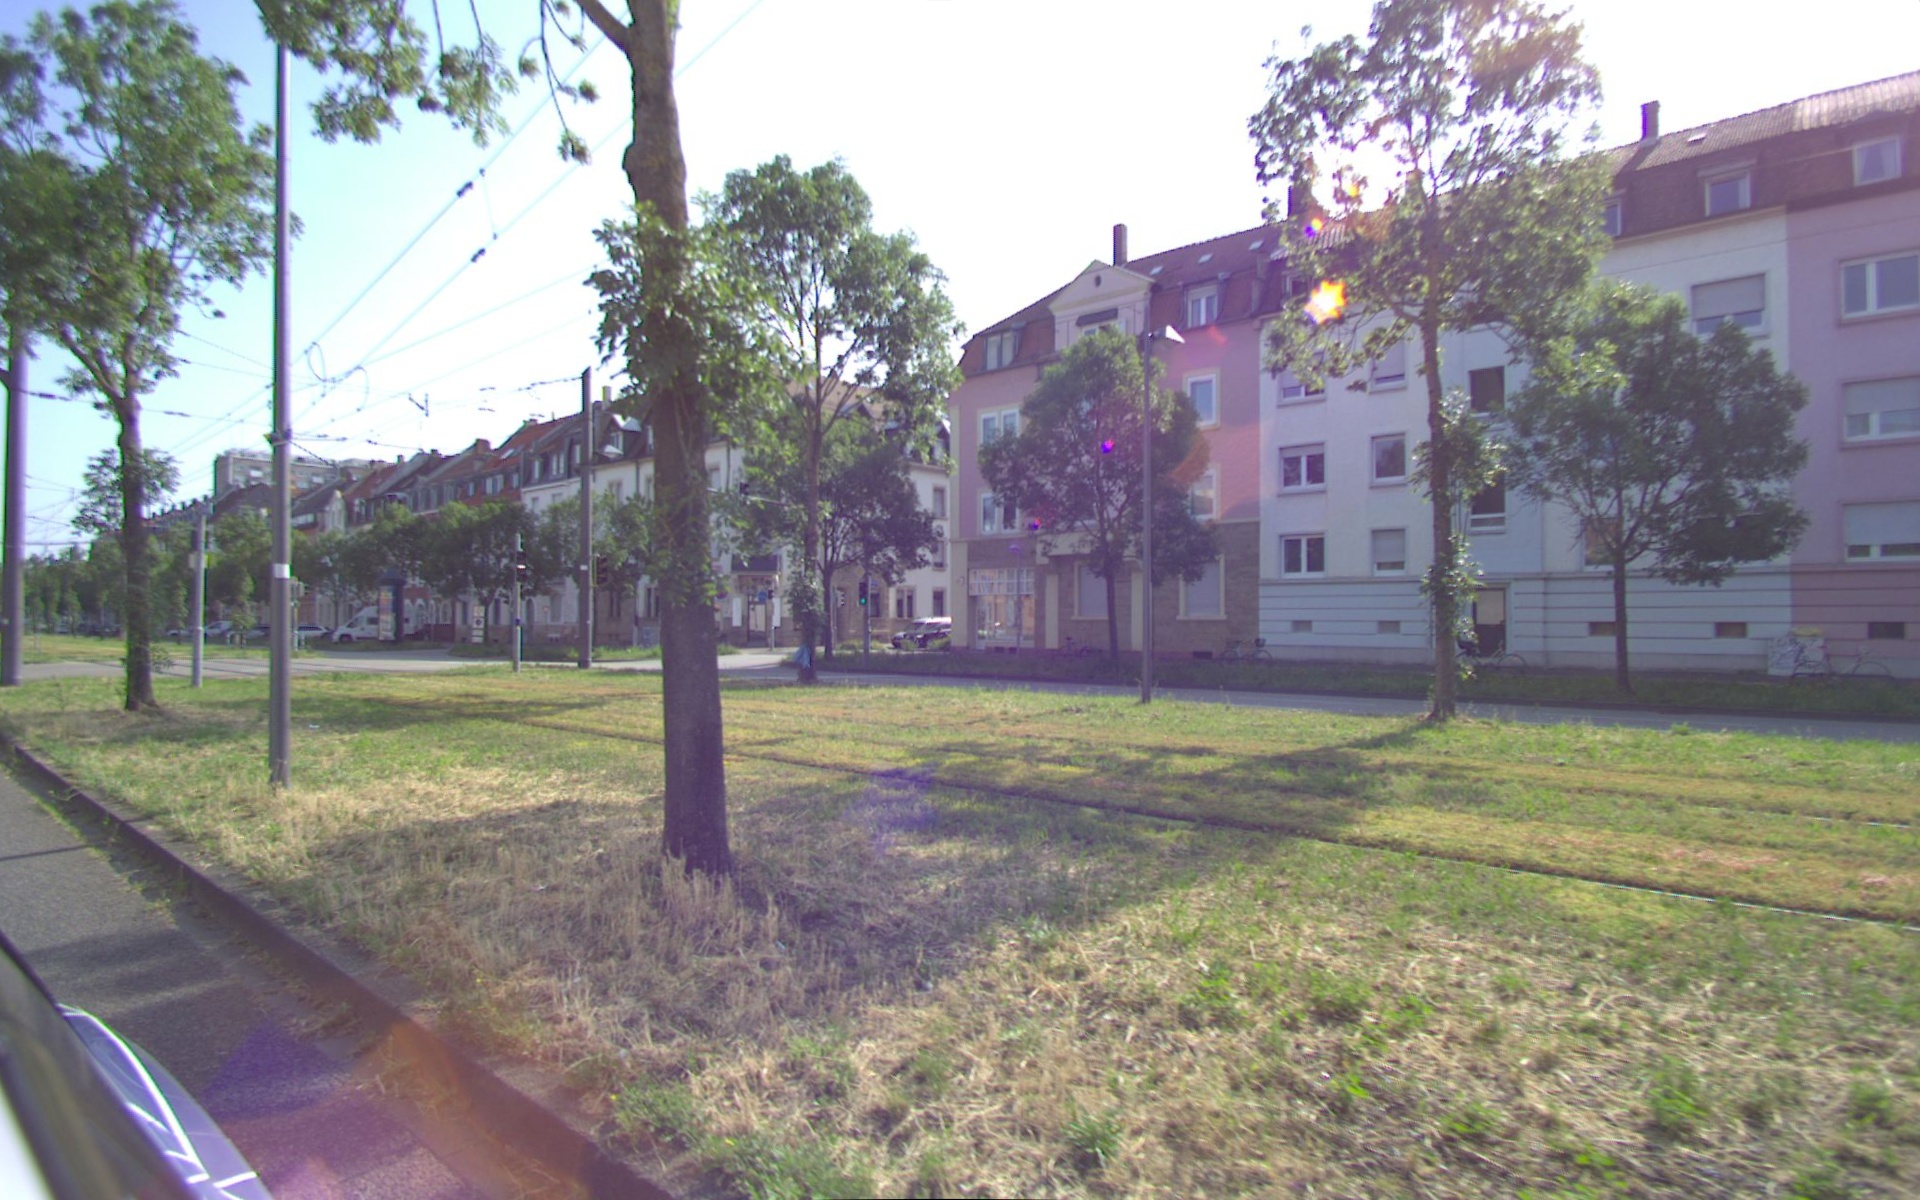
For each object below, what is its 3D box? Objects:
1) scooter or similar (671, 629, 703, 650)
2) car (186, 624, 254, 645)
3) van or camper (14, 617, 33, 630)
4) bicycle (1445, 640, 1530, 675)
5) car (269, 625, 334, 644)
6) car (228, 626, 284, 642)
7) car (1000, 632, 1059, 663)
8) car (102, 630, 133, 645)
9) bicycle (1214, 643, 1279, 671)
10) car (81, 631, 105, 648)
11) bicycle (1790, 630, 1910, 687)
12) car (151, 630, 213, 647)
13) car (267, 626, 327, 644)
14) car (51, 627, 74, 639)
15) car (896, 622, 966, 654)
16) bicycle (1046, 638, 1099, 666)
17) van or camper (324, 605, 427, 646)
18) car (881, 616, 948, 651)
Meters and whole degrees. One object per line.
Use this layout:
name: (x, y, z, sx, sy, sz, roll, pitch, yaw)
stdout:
scooter or similar: (-14.278, 2.059, 52.914, 1.477, 1.077, 0.737, -1, 1, 21)
car: (-70.666, 3.258, 96.678, 4.869, 1.739, 1.862, -1, 1, -14)
van or camper: (-169.437, 4.260, 183.017, 5.350, 2.112, 1.931, -1, 1, 41)
bicycle: (14.012, 1.513, 26.912, 1.946, 0.863, 0.443, -1, 1, 41)
car: (-51.313, 2.689, 78.915, 3.947, 1.326, 1.667, -1, 1, -14)
car: (-60.930, 2.926, 87.651, 3.625, 1.251, 1.667, -1, 1, -14)
car: (3.856, 2.577, 55.575, 1.568, 1.472, 3.364, -1, 1, 39)
car: (-85.368, 3.779, 102.547, 3.924, 1.444, 1.793, -1, 1, 41)
bicycle: (8.951, 1.764, 31.649, 1.946, 0.795, 0.433, -1, 1, 41)
car: (-96.684, 4.390, 112.848, 1.744, 1.668, 4.003, -2, 1, -45)
bicycle: (19.397, 1.253, 22.111, 1.946, 1.136, 0.598, -1, 1, 40)
car: (-80.768, 4.012, 105.118, 4.696, 1.496, 2.029, -2, 1, -16)
car: (-52.834, 2.809, 80.679, 3.625, 1.251, 1.667, -1, 1, -14)
car: (-123.322, 4.576, 139.068, 4.650, 1.470, 1.926, -1, 1, 44)
car: (-1.621, 2.144, 57.999, 1.832, 1.633, 3.948, -1, 1, 39)
bicycle: (3.979, 1.835, 36.023, 1.946, 0.895, 0.463, -1, 1, 41)
van or camper: (-40.684, 1.724, 70.616, 5.827, 2.593, 2.205, -1, 1, -14)
car: (-2.700, 1.961, 60.418, 1.832, 1.863, 3.948, -1, 1, 39)
